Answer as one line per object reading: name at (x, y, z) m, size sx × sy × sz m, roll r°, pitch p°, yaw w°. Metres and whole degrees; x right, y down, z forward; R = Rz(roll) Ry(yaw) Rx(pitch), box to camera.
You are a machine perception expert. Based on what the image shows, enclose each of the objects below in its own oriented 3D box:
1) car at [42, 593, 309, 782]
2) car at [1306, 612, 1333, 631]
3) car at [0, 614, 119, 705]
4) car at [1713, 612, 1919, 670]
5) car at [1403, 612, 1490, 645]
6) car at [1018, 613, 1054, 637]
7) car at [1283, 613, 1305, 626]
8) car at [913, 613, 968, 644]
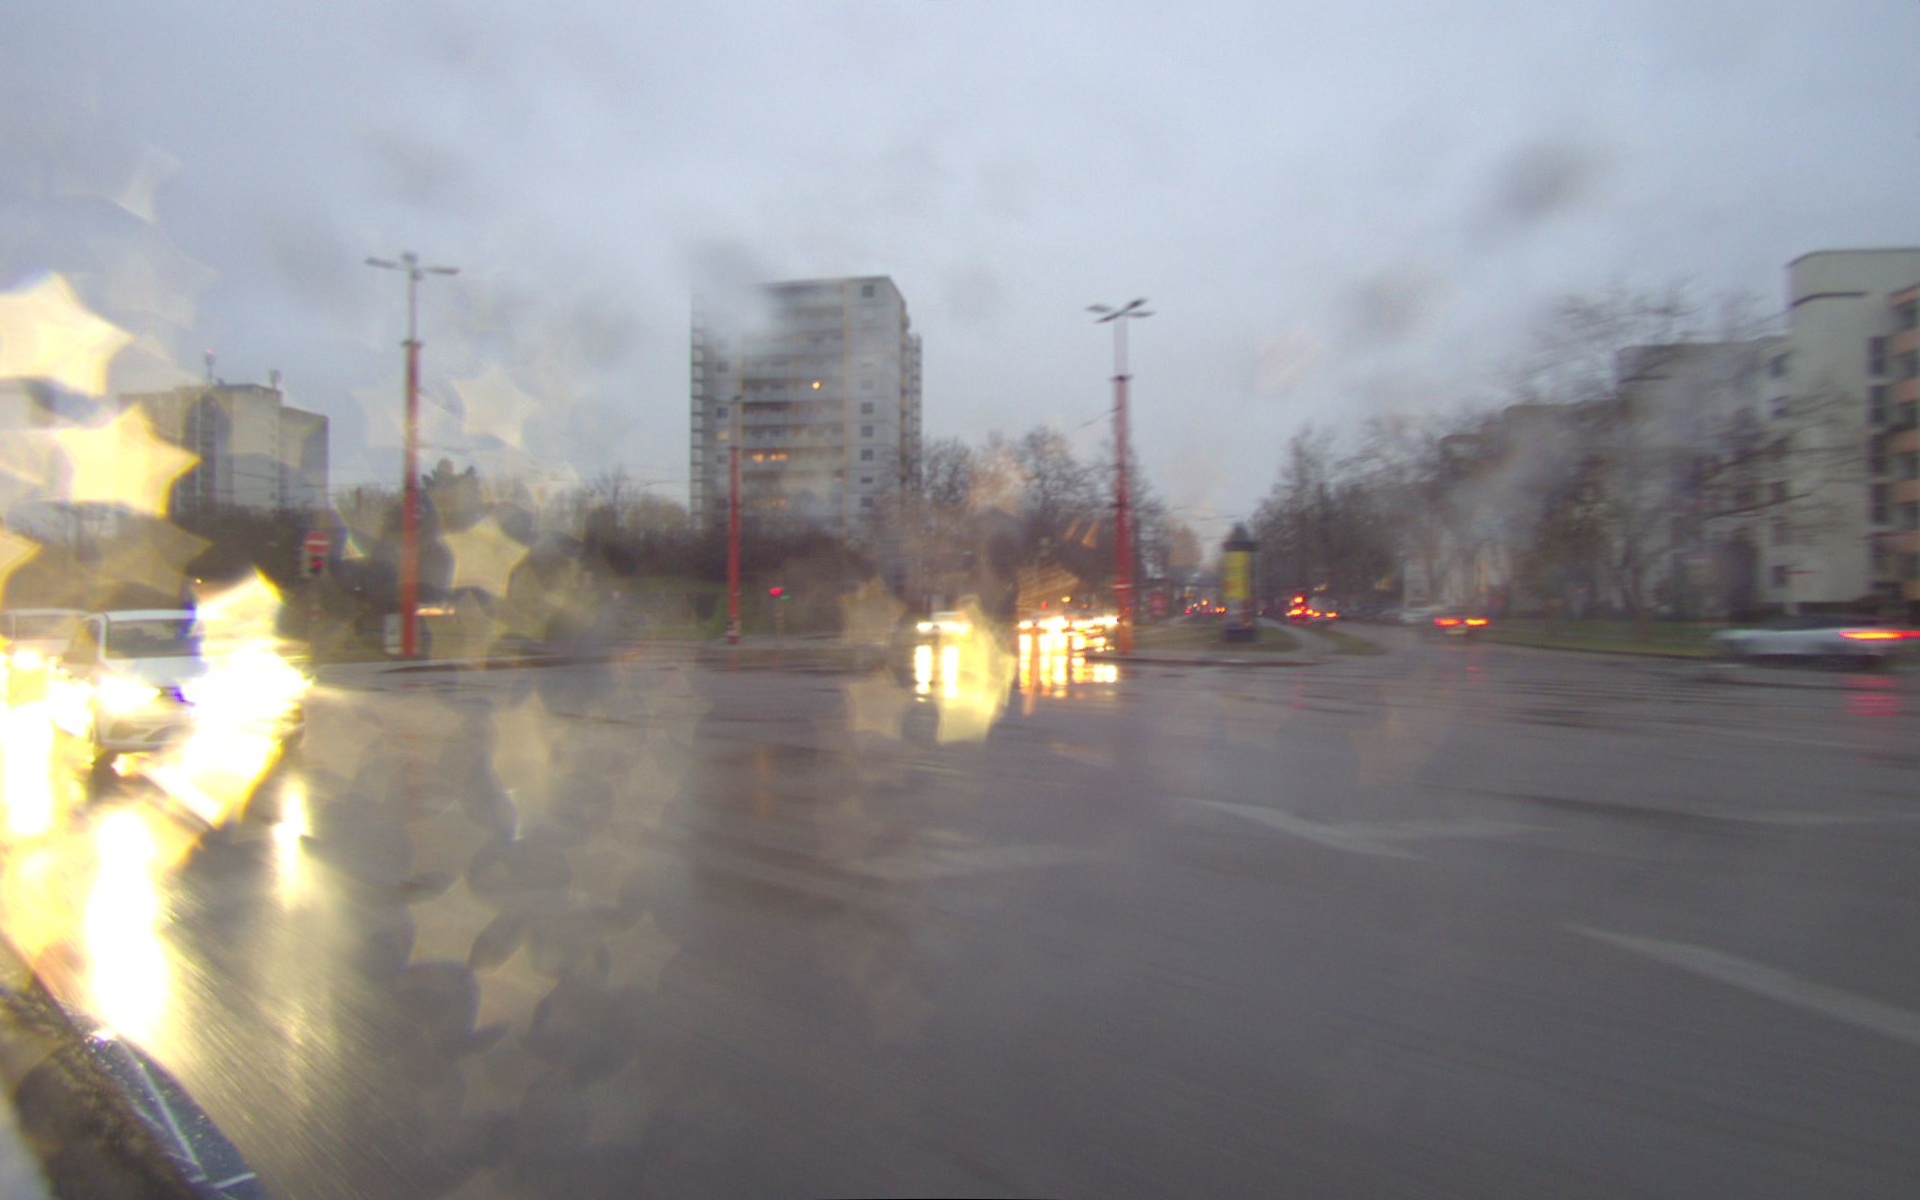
car at (-8.577, 0.787, 10.931) m, size 4.148 × 1.660 × 1.695 m, roll -1°, pitch -1°, yaw 44°
car at (32.565, 1.945, 91.818) m, size 1.519 × 1.652 × 3.990 m, roll 0°, pitch -1°, yaw 8°
car at (-17.984, 1.078, 19.855) m, size 4.188 × 1.551 × 1.672 m, roll -1°, pitch 0°, yaw 42°
car at (24.746, 1.121, 29.179) m, size 1.966 × 1.541 × 4.611 m, roll 0°, pitch -1°, yaw -15°
car at (23.377, 1.347, 48.827) m, size 1.972 × 1.541 × 4.485 m, roll 0°, pitch -1°, yaw 0°
car at (5.113, 1.672, 67.511) m, size 1.697 × 1.556 × 3.981 m, roll 0°, pitch -1°, yaw 15°
car at (38.120, 2.236, 115.534) m, size 1.756 × 1.397 × 3.988 m, roll 0°, pitch -1°, yaw 9°
car at (-1.016, 1.512, 54.482) m, size 1.834 × 1.556 × 4.419 m, roll 0°, pitch -1°, yaw 15°
